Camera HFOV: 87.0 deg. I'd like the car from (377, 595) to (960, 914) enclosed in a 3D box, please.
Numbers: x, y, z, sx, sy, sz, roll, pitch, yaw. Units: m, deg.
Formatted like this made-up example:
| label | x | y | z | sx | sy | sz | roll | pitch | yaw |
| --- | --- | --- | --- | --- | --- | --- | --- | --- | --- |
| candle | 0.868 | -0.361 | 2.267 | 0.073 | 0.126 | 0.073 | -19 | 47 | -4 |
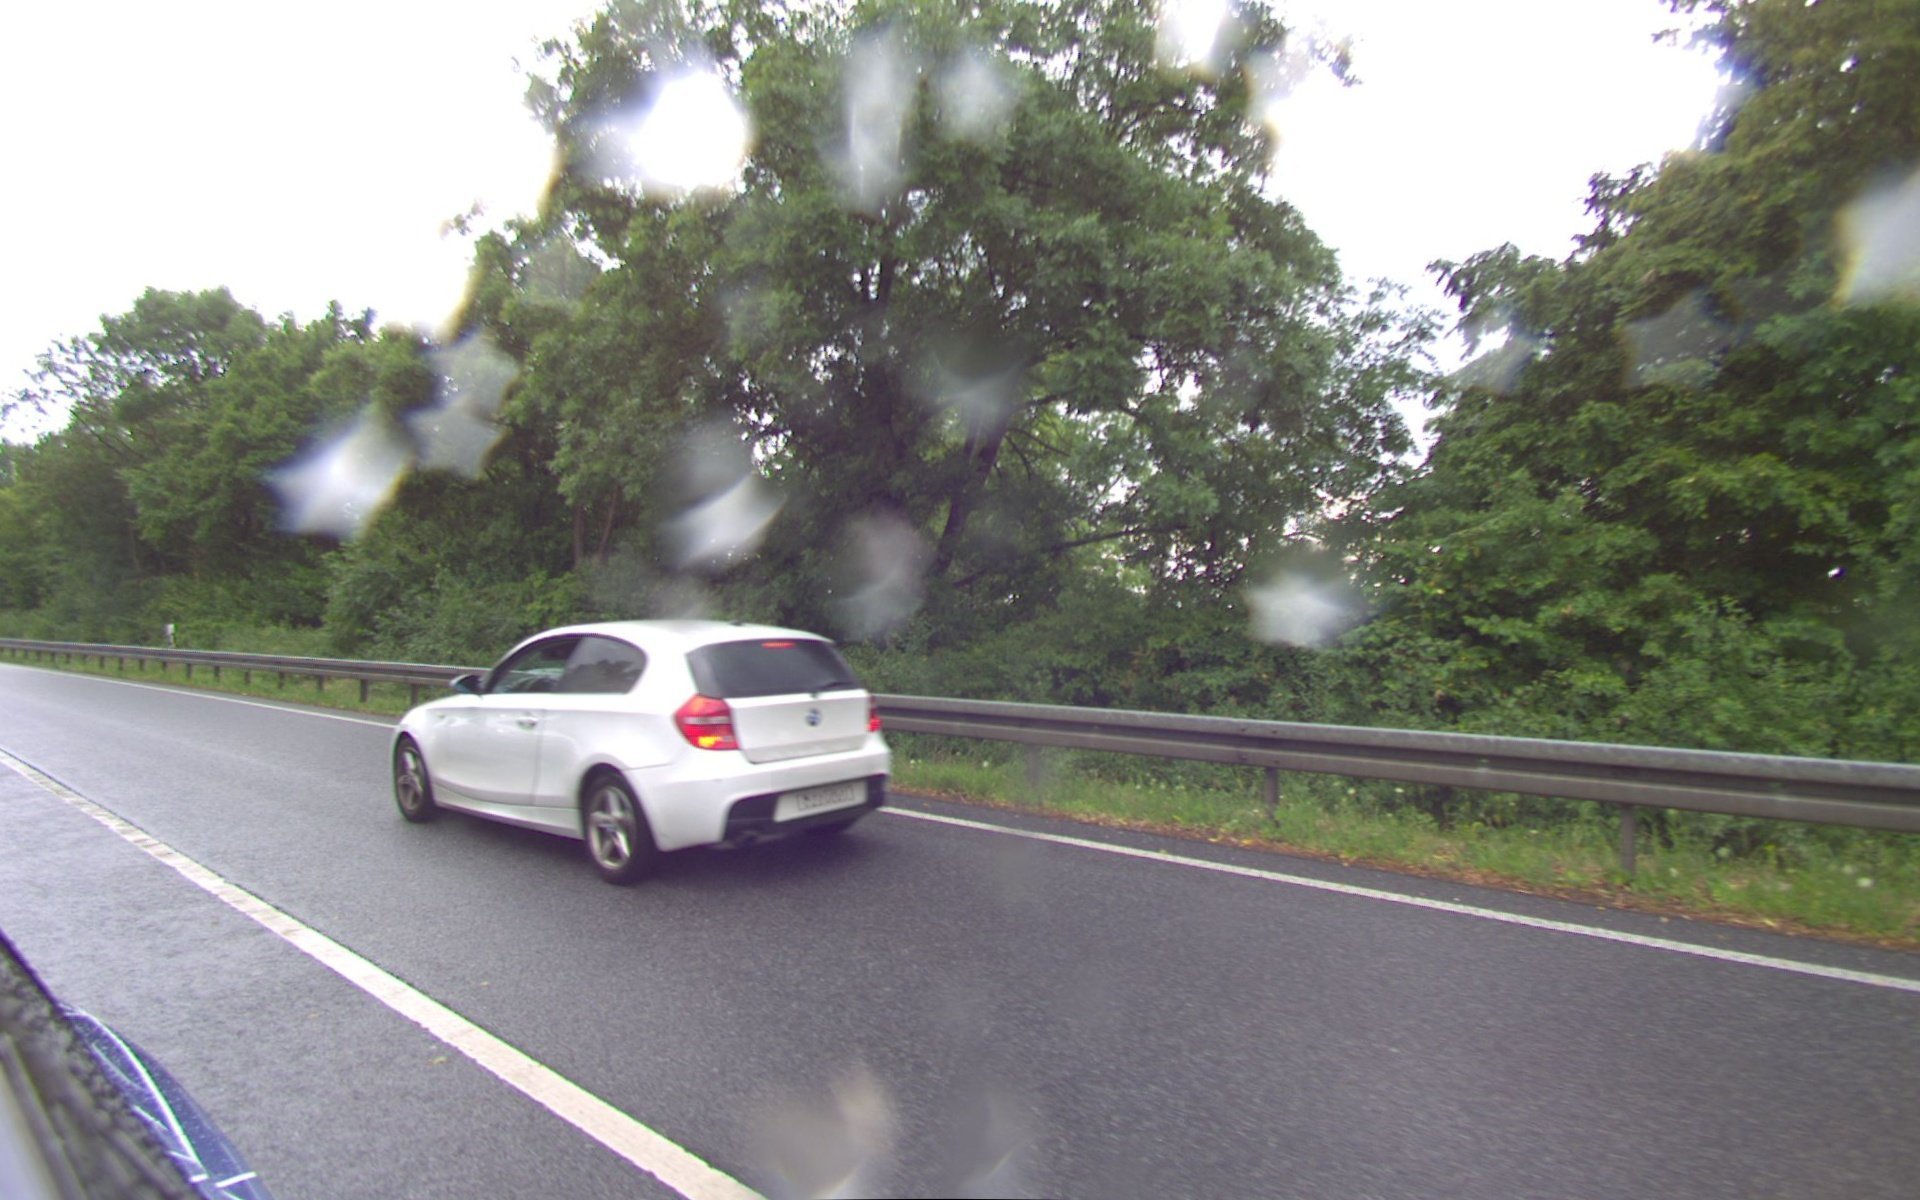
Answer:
| label | x | y | z | sx | sy | sz | roll | pitch | yaw |
| --- | --- | --- | --- | --- | --- | --- | --- | --- | --- |
| car | -2.111 | 0.749 | 6.672 | 4.045 | 1.465 | 1.796 | -1 | -1 | 41 |
